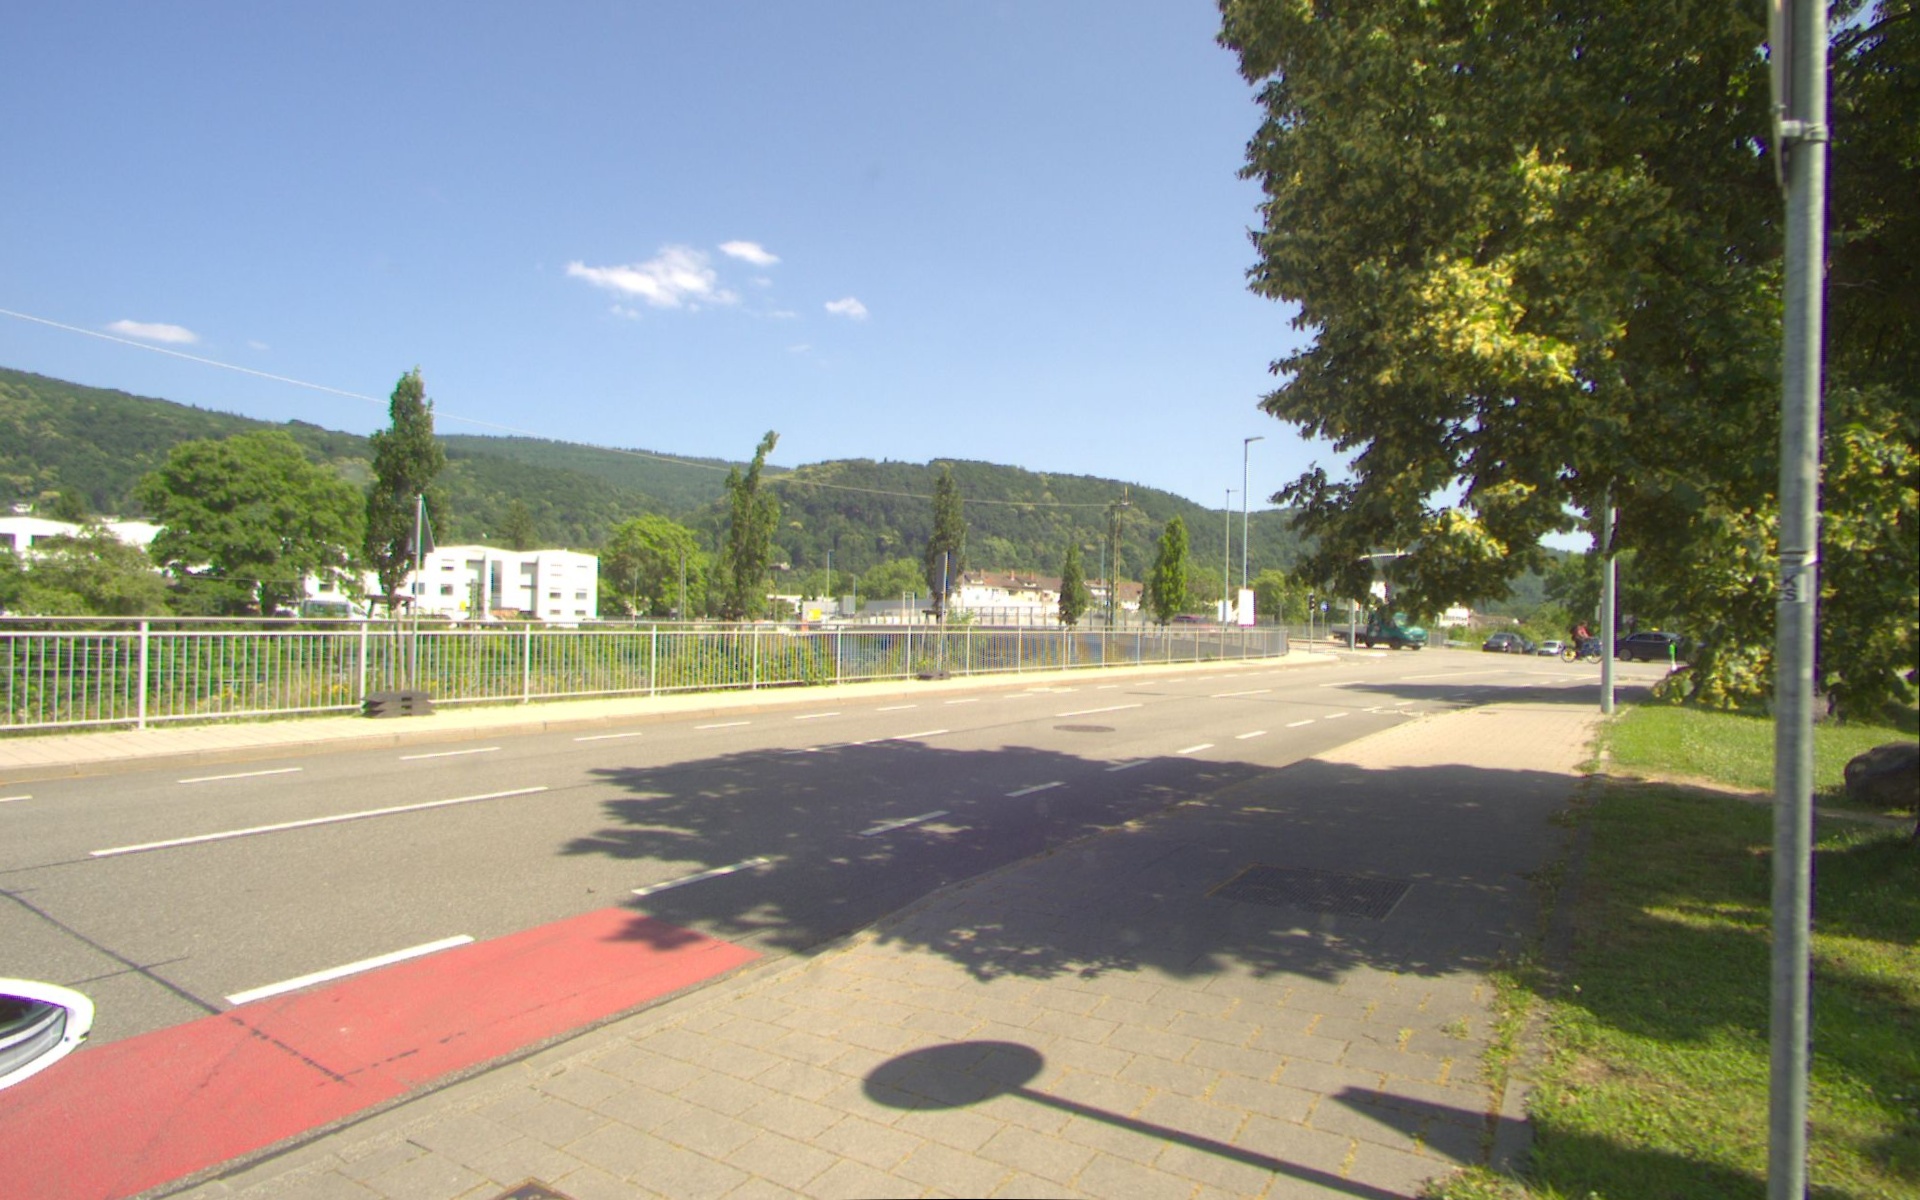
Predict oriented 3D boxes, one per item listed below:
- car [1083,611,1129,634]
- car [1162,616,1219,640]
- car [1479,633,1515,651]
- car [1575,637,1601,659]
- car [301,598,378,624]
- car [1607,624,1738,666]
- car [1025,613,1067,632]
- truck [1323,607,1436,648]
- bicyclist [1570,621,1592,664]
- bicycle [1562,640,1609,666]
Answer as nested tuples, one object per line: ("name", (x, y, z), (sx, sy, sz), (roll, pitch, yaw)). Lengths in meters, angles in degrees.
("car", (12.567, 1.881, 86.565), (1.803, 1.874, 4.352), (-2, 1, -26))
("car", (17.704, 2.151, 77.247), (1.805, 1.701, 4.348), (-2, 1, -30))
("car", (38.886, 3.029, 72.478), (1.591, 1.271, 3.655), (1, -1, 40))
("car", (47.022, 3.548, 74.962), (1.587, 1.555, 3.665), (1, -1, 32))
("car", (-55.686, 0.983, 89.912), (2.115, 2.128, 5.469), (-6, -4, 44))
("car", (33.030, 2.071, 46.558), (1.858, 1.776, 4.593), (1, -1, -28))
("car", (8.080, 2.134, 94.486), (1.802, 1.674, 4.749), (-2, 1, -25))
("truck", (25.913, 1.662, 62.161), (2.351, 2.405, 6.355), (2, -1, -29))
("bicyclist", (27.939, 1.898, 45.035), (0.544, 1.922, 0.654), (-2, 2, -28))
("bicycle", (28.022, 2.372, 44.886), (0.574, 1.057, 1.717), (-2, 1, -28))
